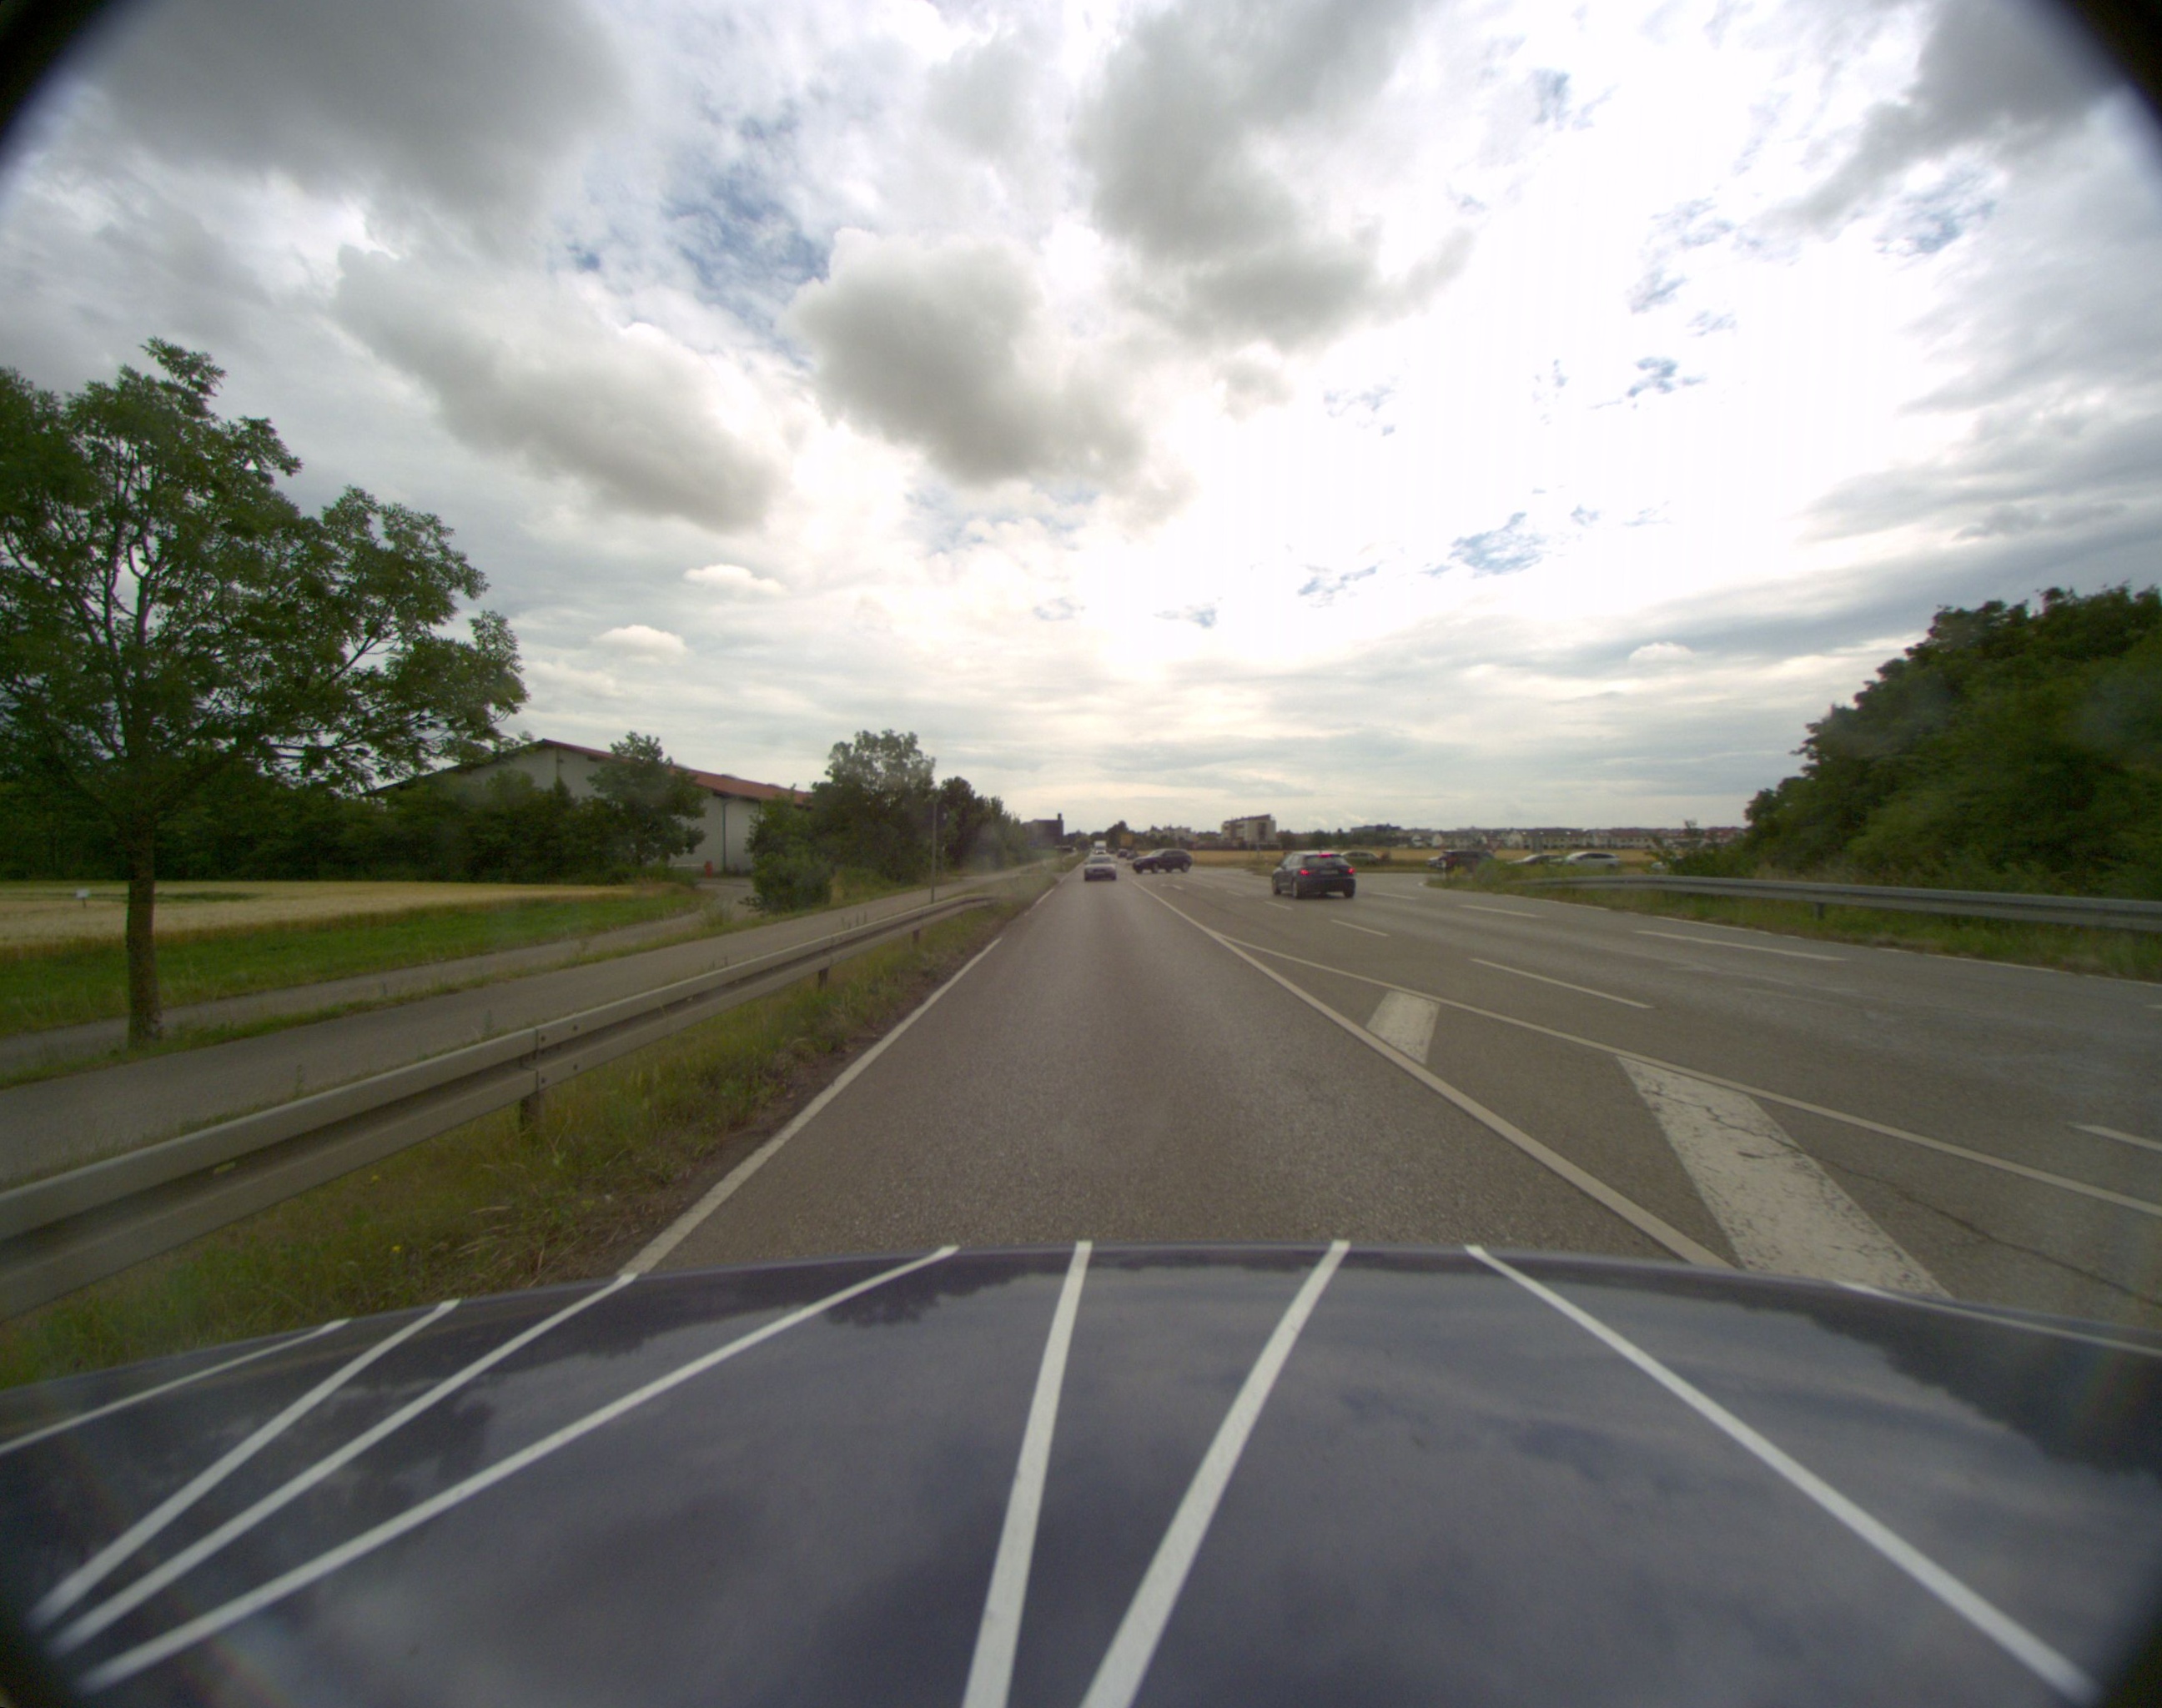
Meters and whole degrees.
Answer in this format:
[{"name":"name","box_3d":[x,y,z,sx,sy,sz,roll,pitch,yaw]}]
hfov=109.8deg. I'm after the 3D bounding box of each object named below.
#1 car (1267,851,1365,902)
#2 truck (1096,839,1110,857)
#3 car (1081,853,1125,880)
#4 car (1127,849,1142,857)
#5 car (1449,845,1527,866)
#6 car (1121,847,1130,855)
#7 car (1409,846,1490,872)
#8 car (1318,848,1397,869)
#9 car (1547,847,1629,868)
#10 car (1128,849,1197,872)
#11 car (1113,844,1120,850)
[{"name":"car","box_3d":[7.182,0.631,23.650,1.867,1.368,4.000,-2,0,2]},{"name":"truck","box_3d":[4.740,-1.335,164.065,2.813,3.588,11.219,0,1,2]},{"name":"car","box_3d":[1.327,0.662,43.392,1.908,1.416,4.468,0,1,9]},{"name":"car","box_3d":[8.555,-0.154,121.604,2.170,1.277,4.237,-2,1,1]},{"name":"car","box_3d":[29.773,0.123,55.679,4.632,1.508,1.912,0,1,7]},{"name":"car","box_3d":[8.230,-0.593,140.697,1.746,1.521,4.199,0,1,3]},{"name":"car","box_3d":[23.728,0.289,49.010,4.480,1.602,1.707,-1,1,-3]},{"name":"car","box_3d":[20.716,0.361,57.168,5.295,1.512,1.912,0,1,7]},{"name":"car","box_3d":[36.632,0.232,54.997,4.499,1.474,1.912,0,1,7]},{"name":"car","box_3d":[5.839,0.430,54.412,4.763,1.523,1.906,-1,1,-32]},{"name":"car","box_3d":[9.674,-1.959,207.092,1.683,1.512,4.395,-2,1,1]}]
